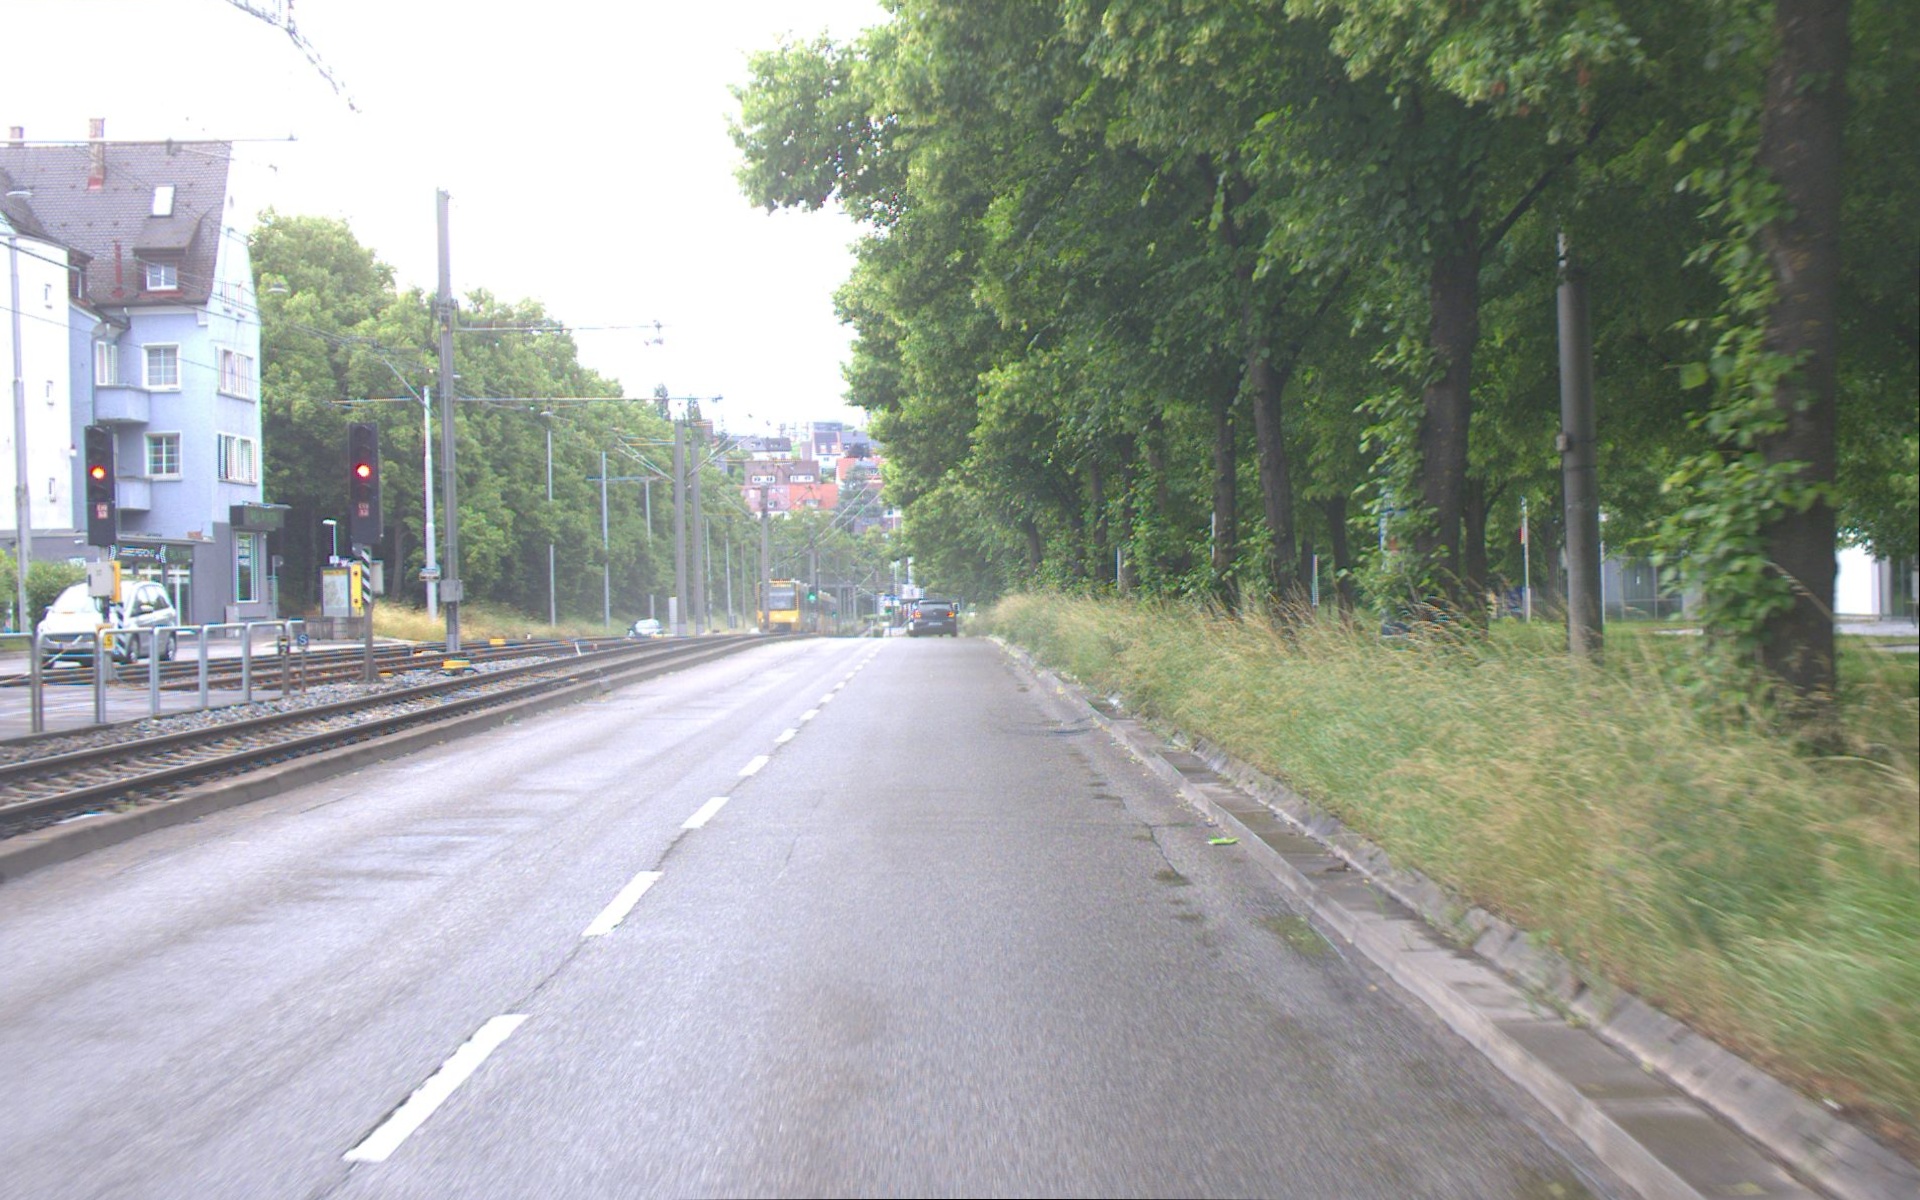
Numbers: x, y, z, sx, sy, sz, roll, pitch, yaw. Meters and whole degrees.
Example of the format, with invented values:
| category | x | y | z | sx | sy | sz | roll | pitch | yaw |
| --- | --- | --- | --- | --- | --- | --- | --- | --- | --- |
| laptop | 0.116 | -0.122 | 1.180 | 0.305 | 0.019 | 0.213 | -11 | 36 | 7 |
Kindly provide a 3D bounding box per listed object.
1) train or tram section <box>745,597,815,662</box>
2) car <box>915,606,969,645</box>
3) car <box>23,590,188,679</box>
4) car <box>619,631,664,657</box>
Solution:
| category | x | y | z | sx | sy | sz | roll | pitch | yaw |
| --- | --- | --- | --- | --- | --- | --- | --- | --- | --- |
| train or tram section | -11.086 | 1.886 | 213.549 | 3.214 | 3.784 | 14.787 | -1 | -1 | 1 |
| car | -0.674 | 0.966 | 130.890 | 1.982 | 1.436 | 4.474 | -1 | -1 | 0 |
| car | -16.691 | 0.674 | 67.376 | 1.902 | 1.639 | 4.884 | -1 | -1 | 1 |
| car | -17.652 | 2.451 | 190.668 | 1.902 | 1.320 | 4.825 | -1 | -1 | 1 |
